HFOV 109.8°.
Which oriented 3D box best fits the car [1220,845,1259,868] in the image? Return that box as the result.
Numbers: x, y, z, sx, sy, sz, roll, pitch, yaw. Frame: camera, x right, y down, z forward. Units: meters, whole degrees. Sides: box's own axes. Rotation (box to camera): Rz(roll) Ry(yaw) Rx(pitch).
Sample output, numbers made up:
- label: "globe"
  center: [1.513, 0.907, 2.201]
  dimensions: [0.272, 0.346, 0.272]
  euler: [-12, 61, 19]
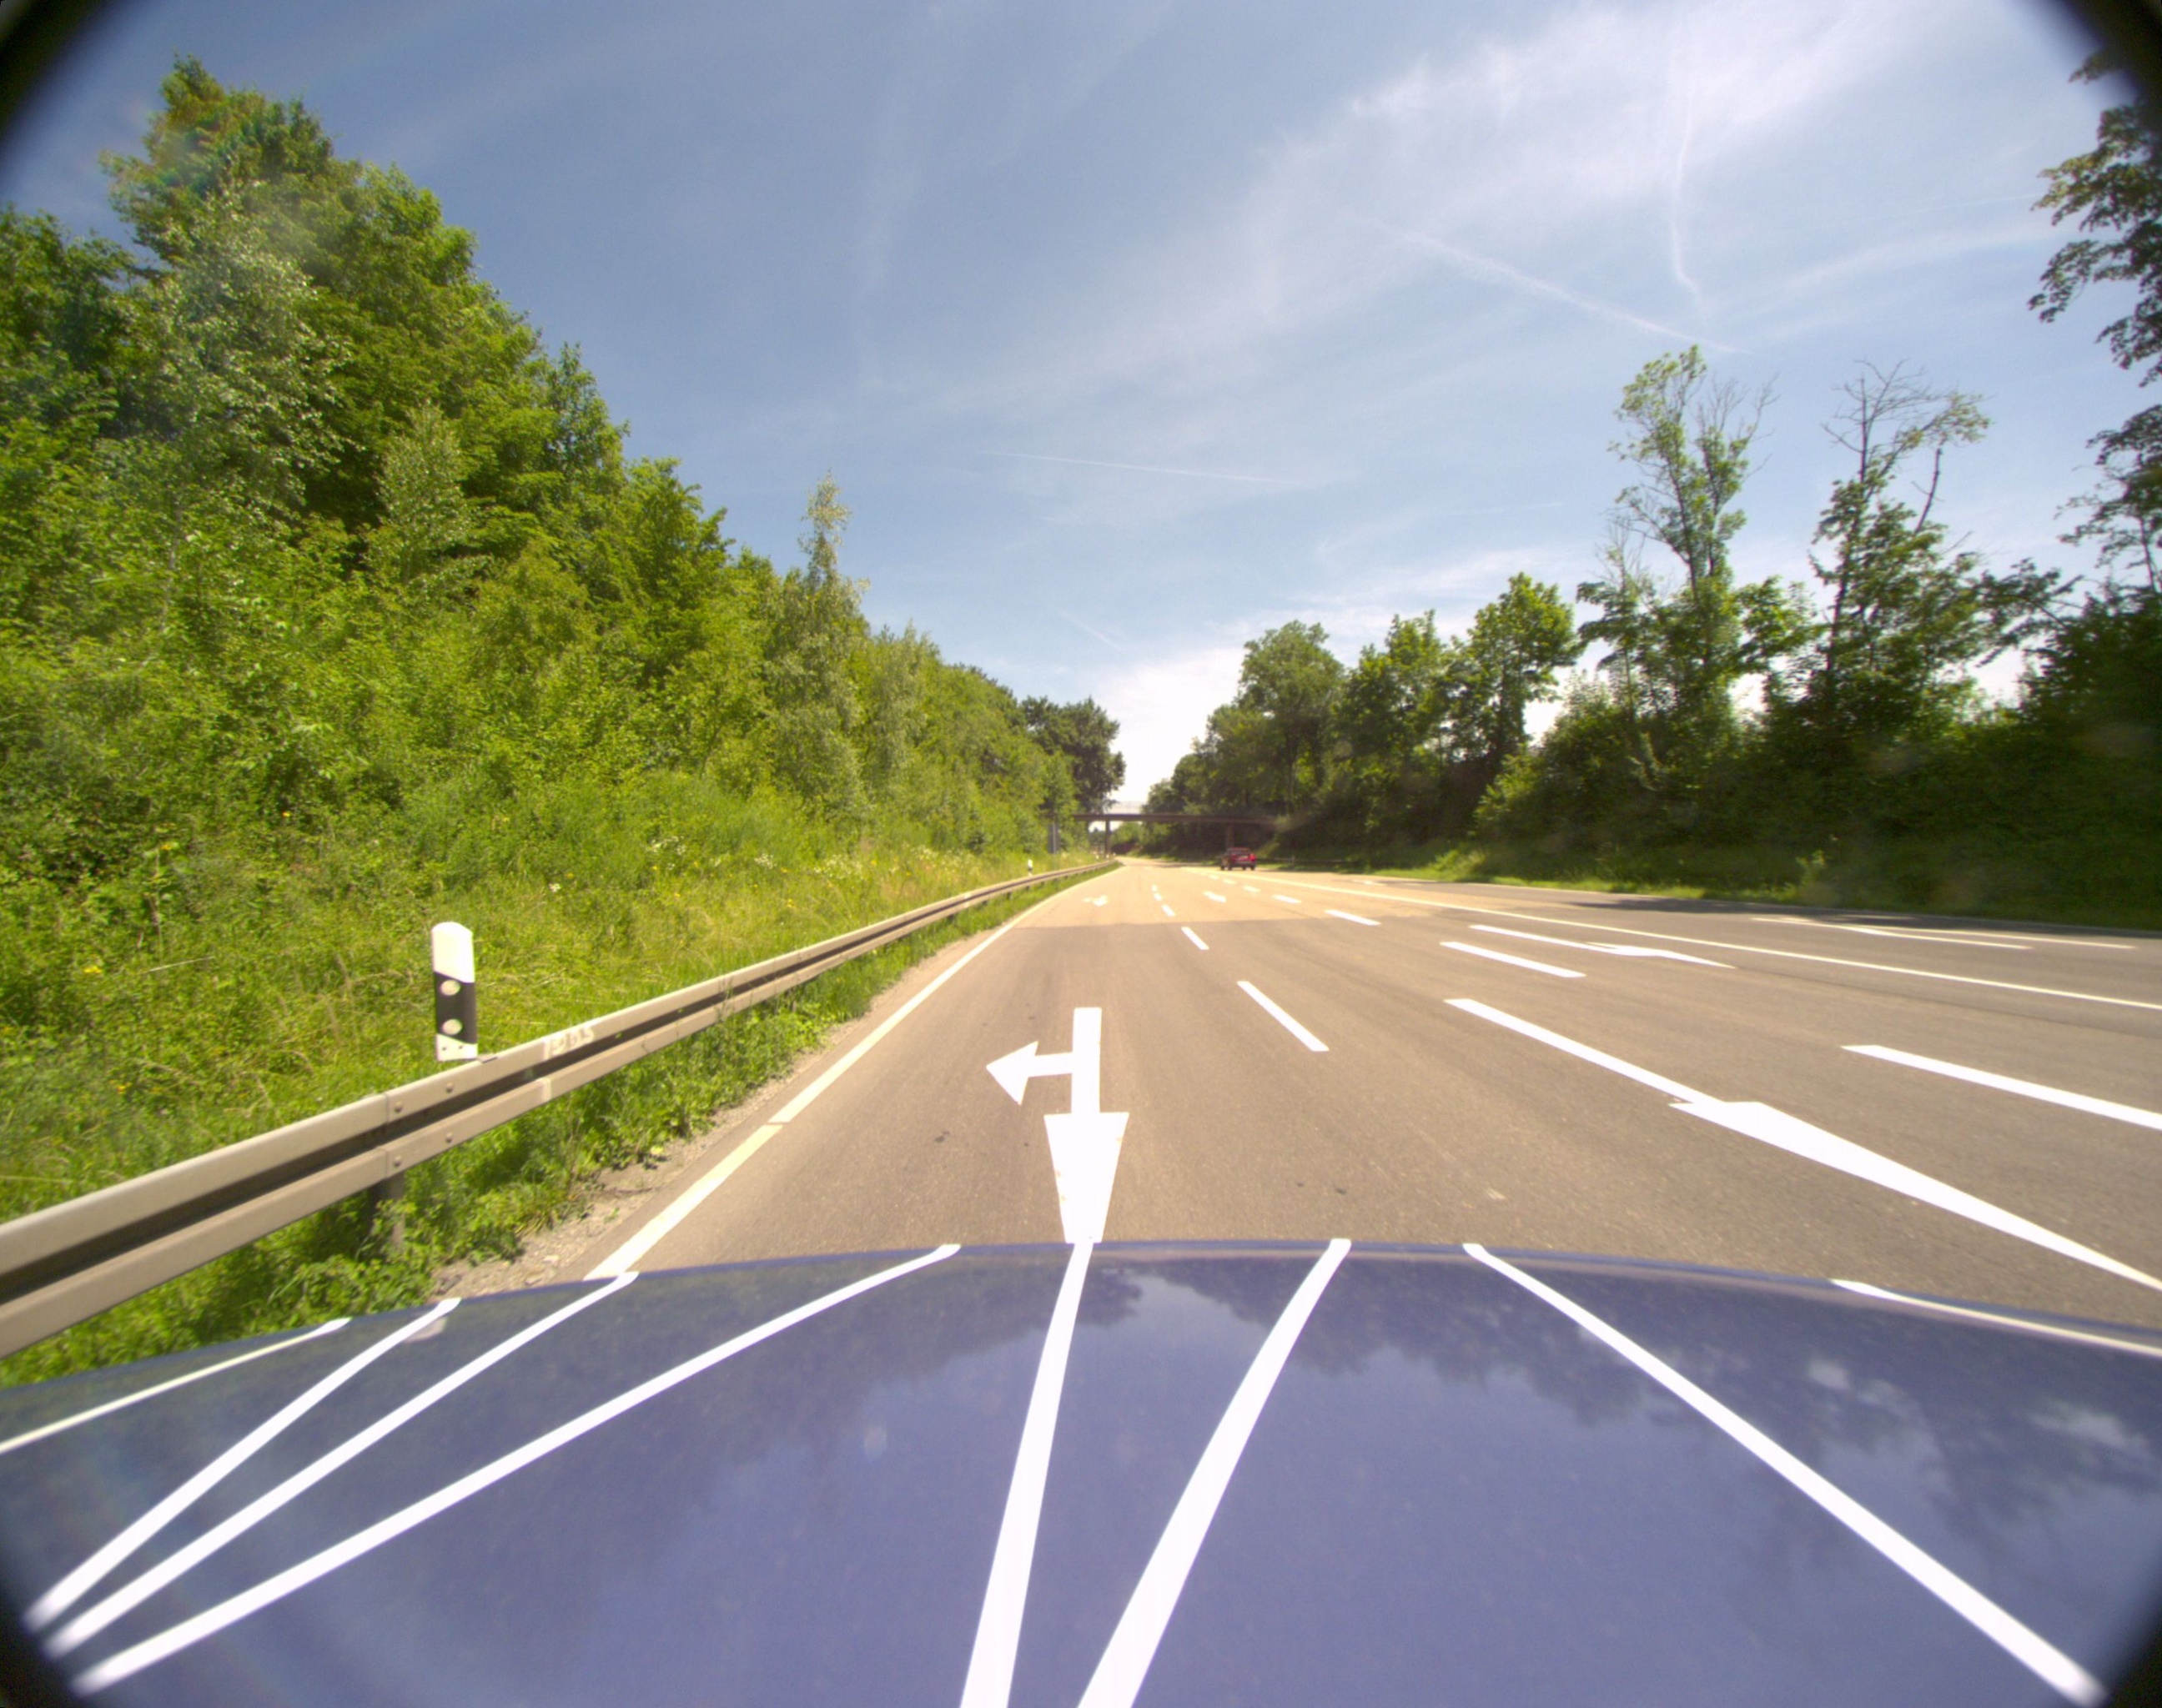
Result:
- label: "car"
  center: [10.958, 0.160, 52.816]
  dimensions: [1.908, 1.500, 3.764]
  euler: [-1, 0, 0]
